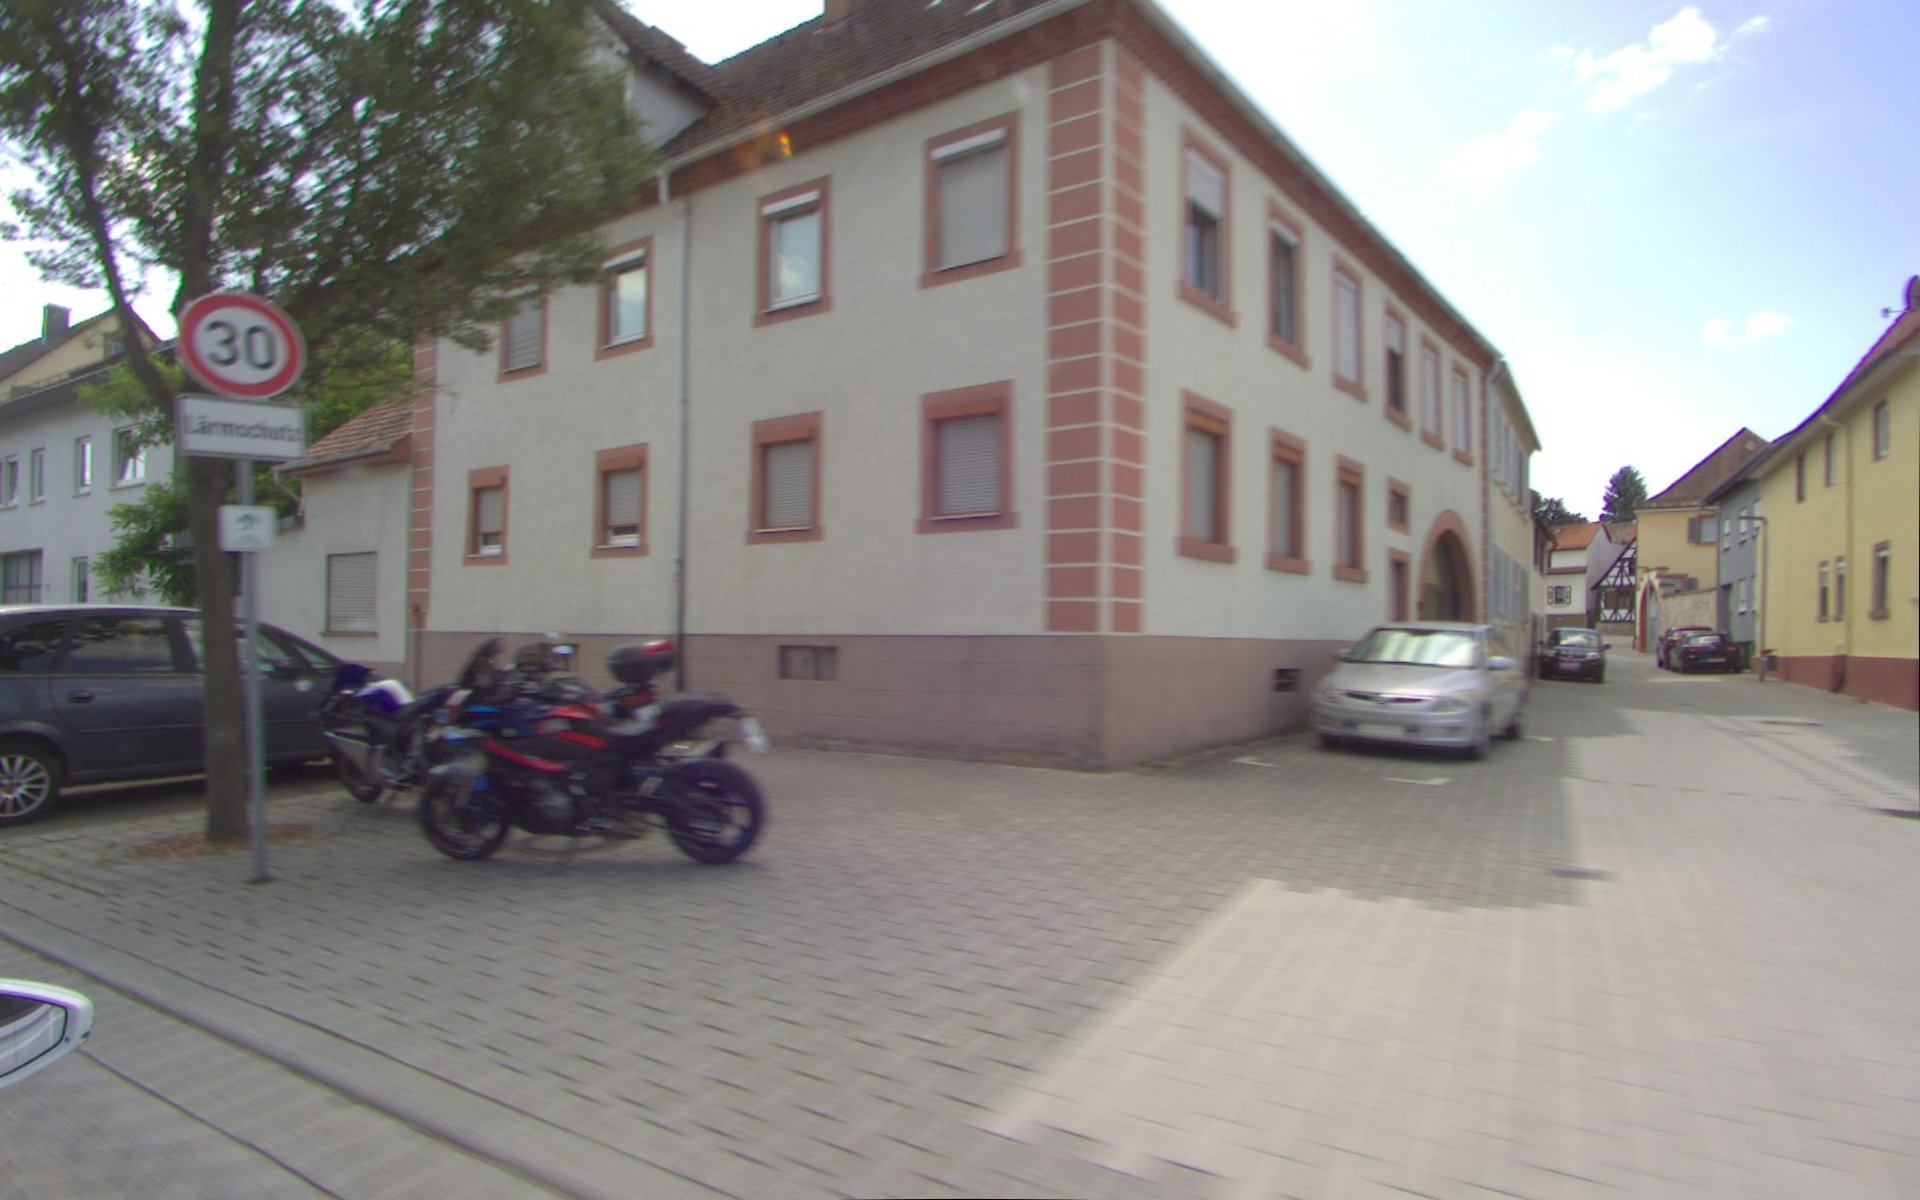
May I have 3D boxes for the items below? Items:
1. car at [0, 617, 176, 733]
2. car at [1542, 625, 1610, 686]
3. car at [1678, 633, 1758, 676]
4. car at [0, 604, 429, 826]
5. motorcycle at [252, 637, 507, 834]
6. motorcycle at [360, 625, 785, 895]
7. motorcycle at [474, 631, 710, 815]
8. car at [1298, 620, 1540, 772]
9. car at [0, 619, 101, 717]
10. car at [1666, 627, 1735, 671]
[{"bbox_3d":[-13.404,1.019,14.427,1.842,1.524,2.787,0,-1,10],"label":"car"},{"bbox_3d":[18.279,1.575,29.638,1.584,1.641,3.654,1,0,33],"label":"car"},{"bbox_3d":[25.957,1.839,34.417,1.973,1.363,3.521,-1,-2,34],"label":"car"},{"bbox_3d":[-7.051,0.842,8.807,1.823,1.598,3.843,0,0,30],"label":"car"},{"bbox_3d":[-4.415,0.944,7.569,2.149,1.315,0.628,-1,0,28],"label":"motorcycle"},{"bbox_3d":[-2.172,0.864,5.931,2.185,1.413,0.872,1,-1,-13],"label":"motorcycle"},{"bbox_3d":[-3.164,0.940,8.492,2.200,1.315,0.954,-1,0,42],"label":"motorcycle"},{"bbox_3d":[5.637,1.010,12.024,1.802,1.492,3.979,0,-2,38],"label":"car"},{"bbox_3d":[-15.975,1.067,15.863,1.791,1.524,3.237,1,-1,5],"label":"car"},{"bbox_3d":[28.732,1.867,38.970,1.973,1.642,3.521,-1,-2,34],"label":"car"}]
